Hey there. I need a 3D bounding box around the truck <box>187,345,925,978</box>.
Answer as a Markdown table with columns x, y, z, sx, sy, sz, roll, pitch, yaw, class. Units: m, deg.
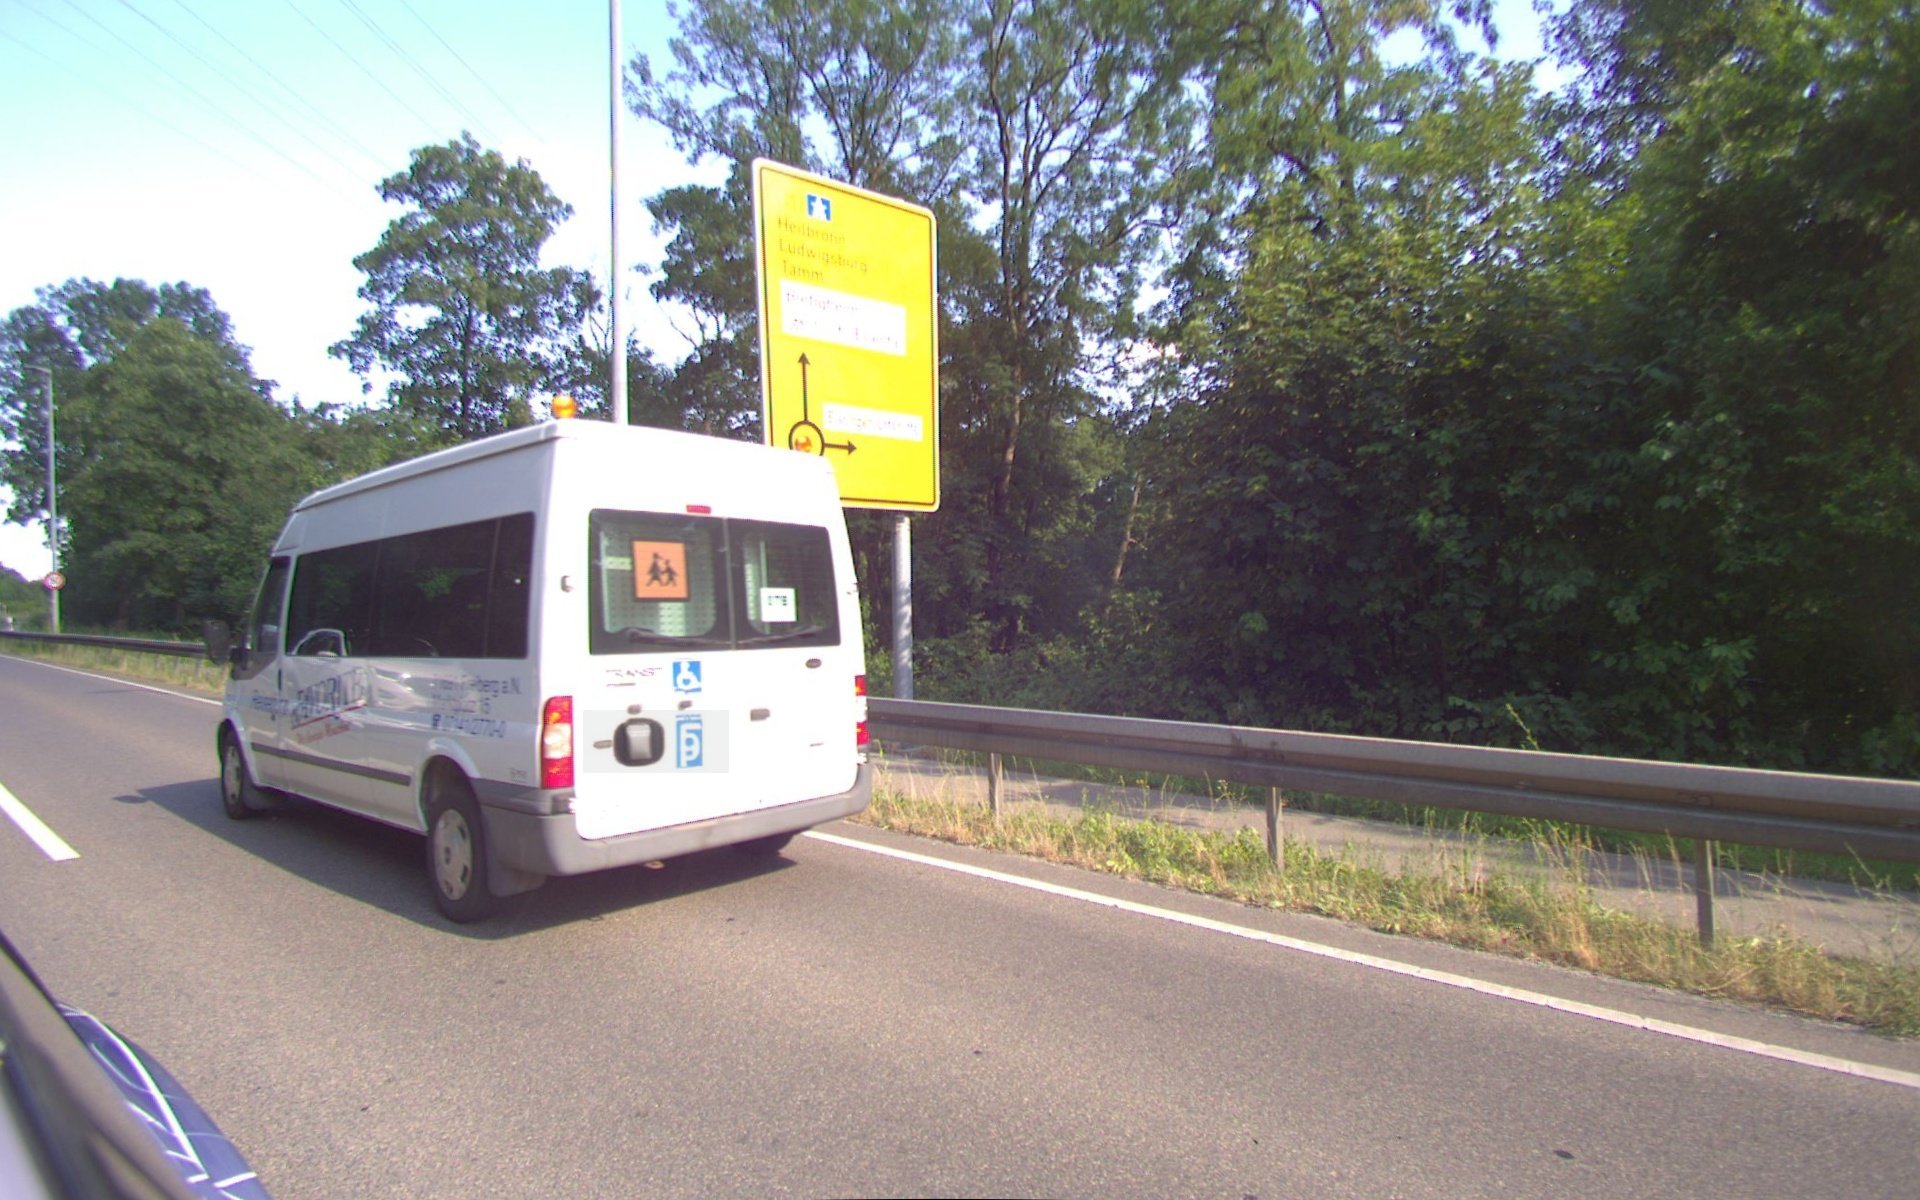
| x | y | z | sx | sy | sz | roll | pitch | yaw | class |
| --- | --- | --- | --- | --- | --- | --- | --- | --- | --- |
| -3.049 | 0.271 | 6.565 | 5.871 | 2.403 | 2.036 | -1 | -1 | 42 | truck |
